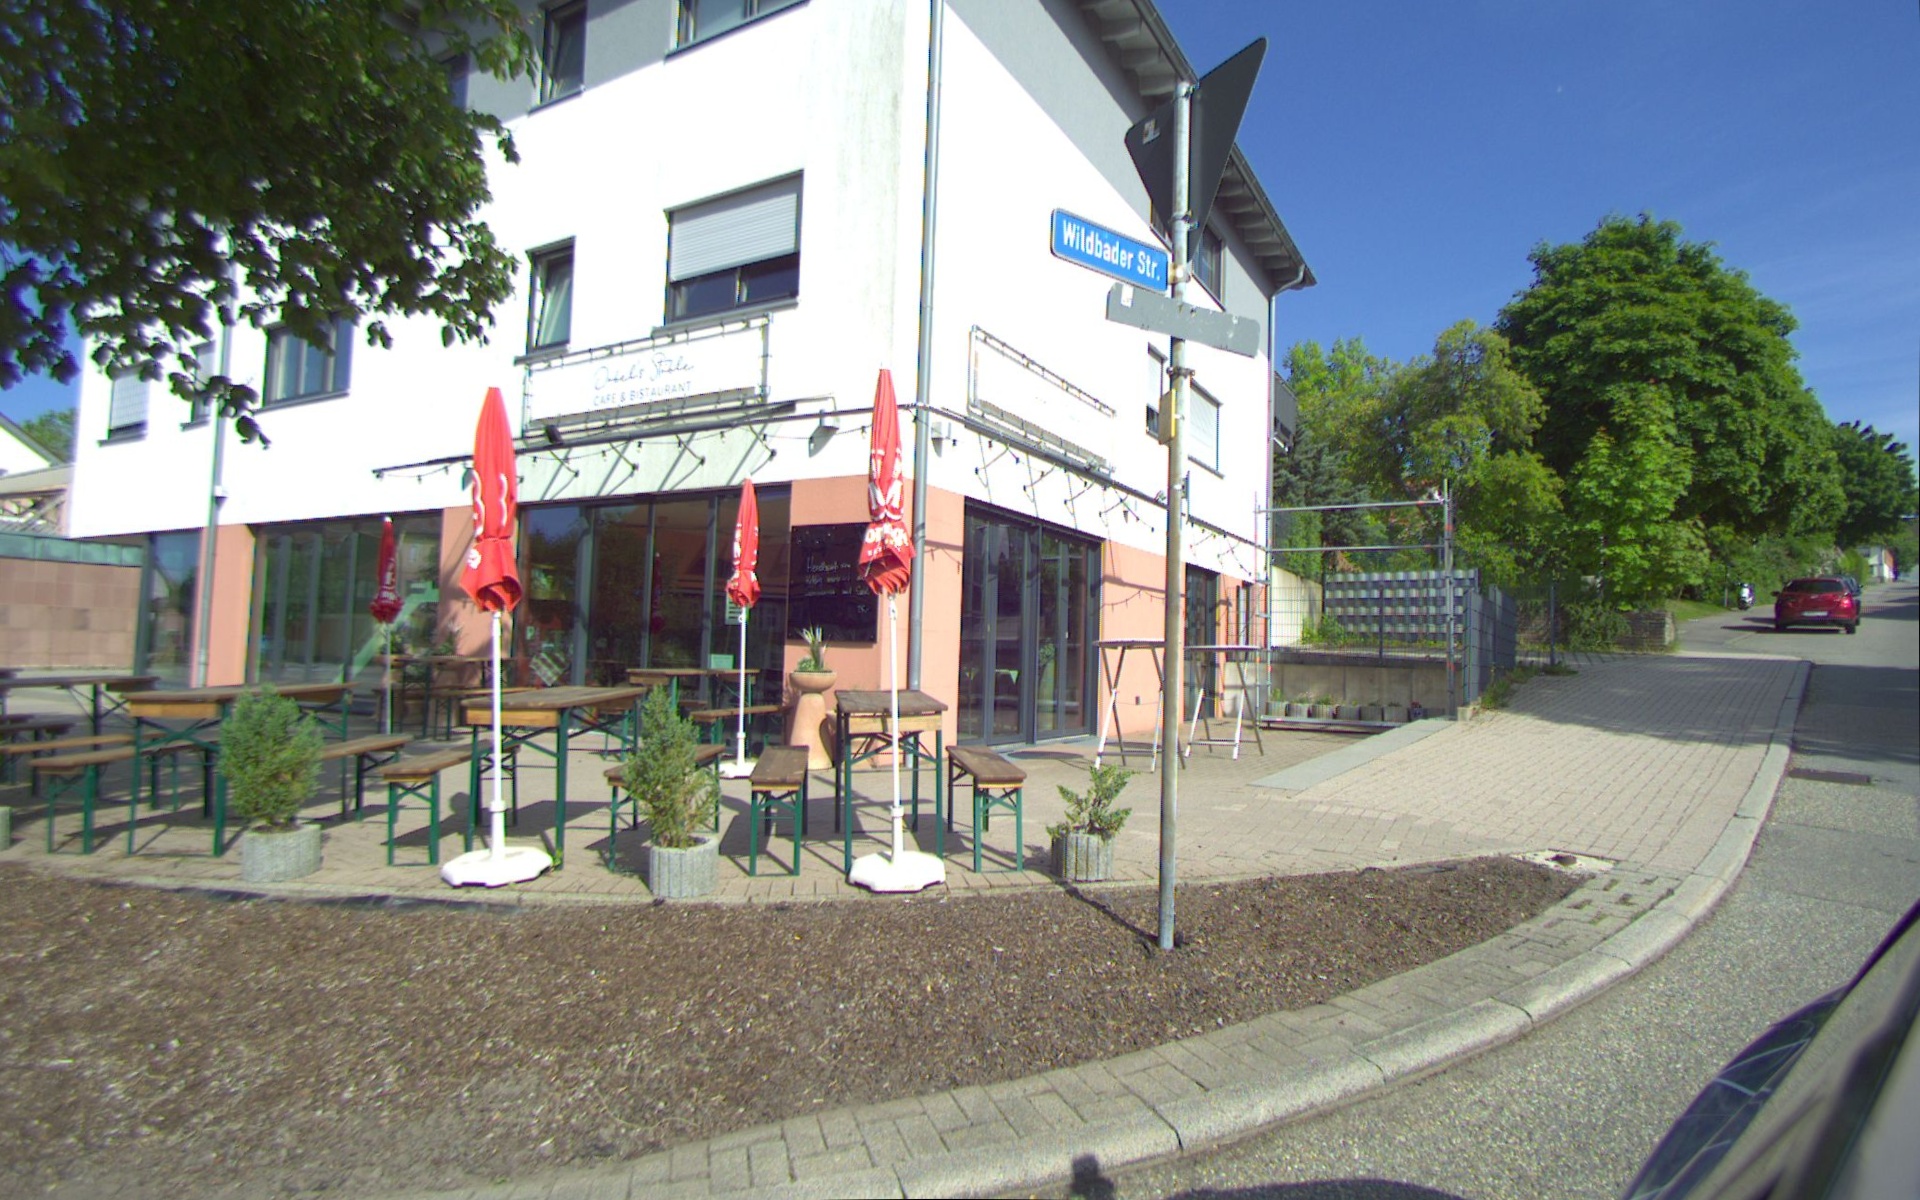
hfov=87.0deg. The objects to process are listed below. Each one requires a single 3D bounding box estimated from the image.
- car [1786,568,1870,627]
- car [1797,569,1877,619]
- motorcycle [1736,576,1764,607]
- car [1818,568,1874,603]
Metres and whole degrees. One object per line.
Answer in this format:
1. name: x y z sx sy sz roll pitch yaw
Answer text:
1. car: 23.935 -0.092 27.862 1.619 1.517 3.752 0 1 43
2. car: 27.678 -0.213 31.918 1.770 1.489 3.752 0 1 43
3. motorcycle: 31.789 -0.349 40.733 0.782 1.196 2.156 0 1 41
4. car: 39.864 -0.666 45.502 1.770 1.489 3.752 0 1 43
